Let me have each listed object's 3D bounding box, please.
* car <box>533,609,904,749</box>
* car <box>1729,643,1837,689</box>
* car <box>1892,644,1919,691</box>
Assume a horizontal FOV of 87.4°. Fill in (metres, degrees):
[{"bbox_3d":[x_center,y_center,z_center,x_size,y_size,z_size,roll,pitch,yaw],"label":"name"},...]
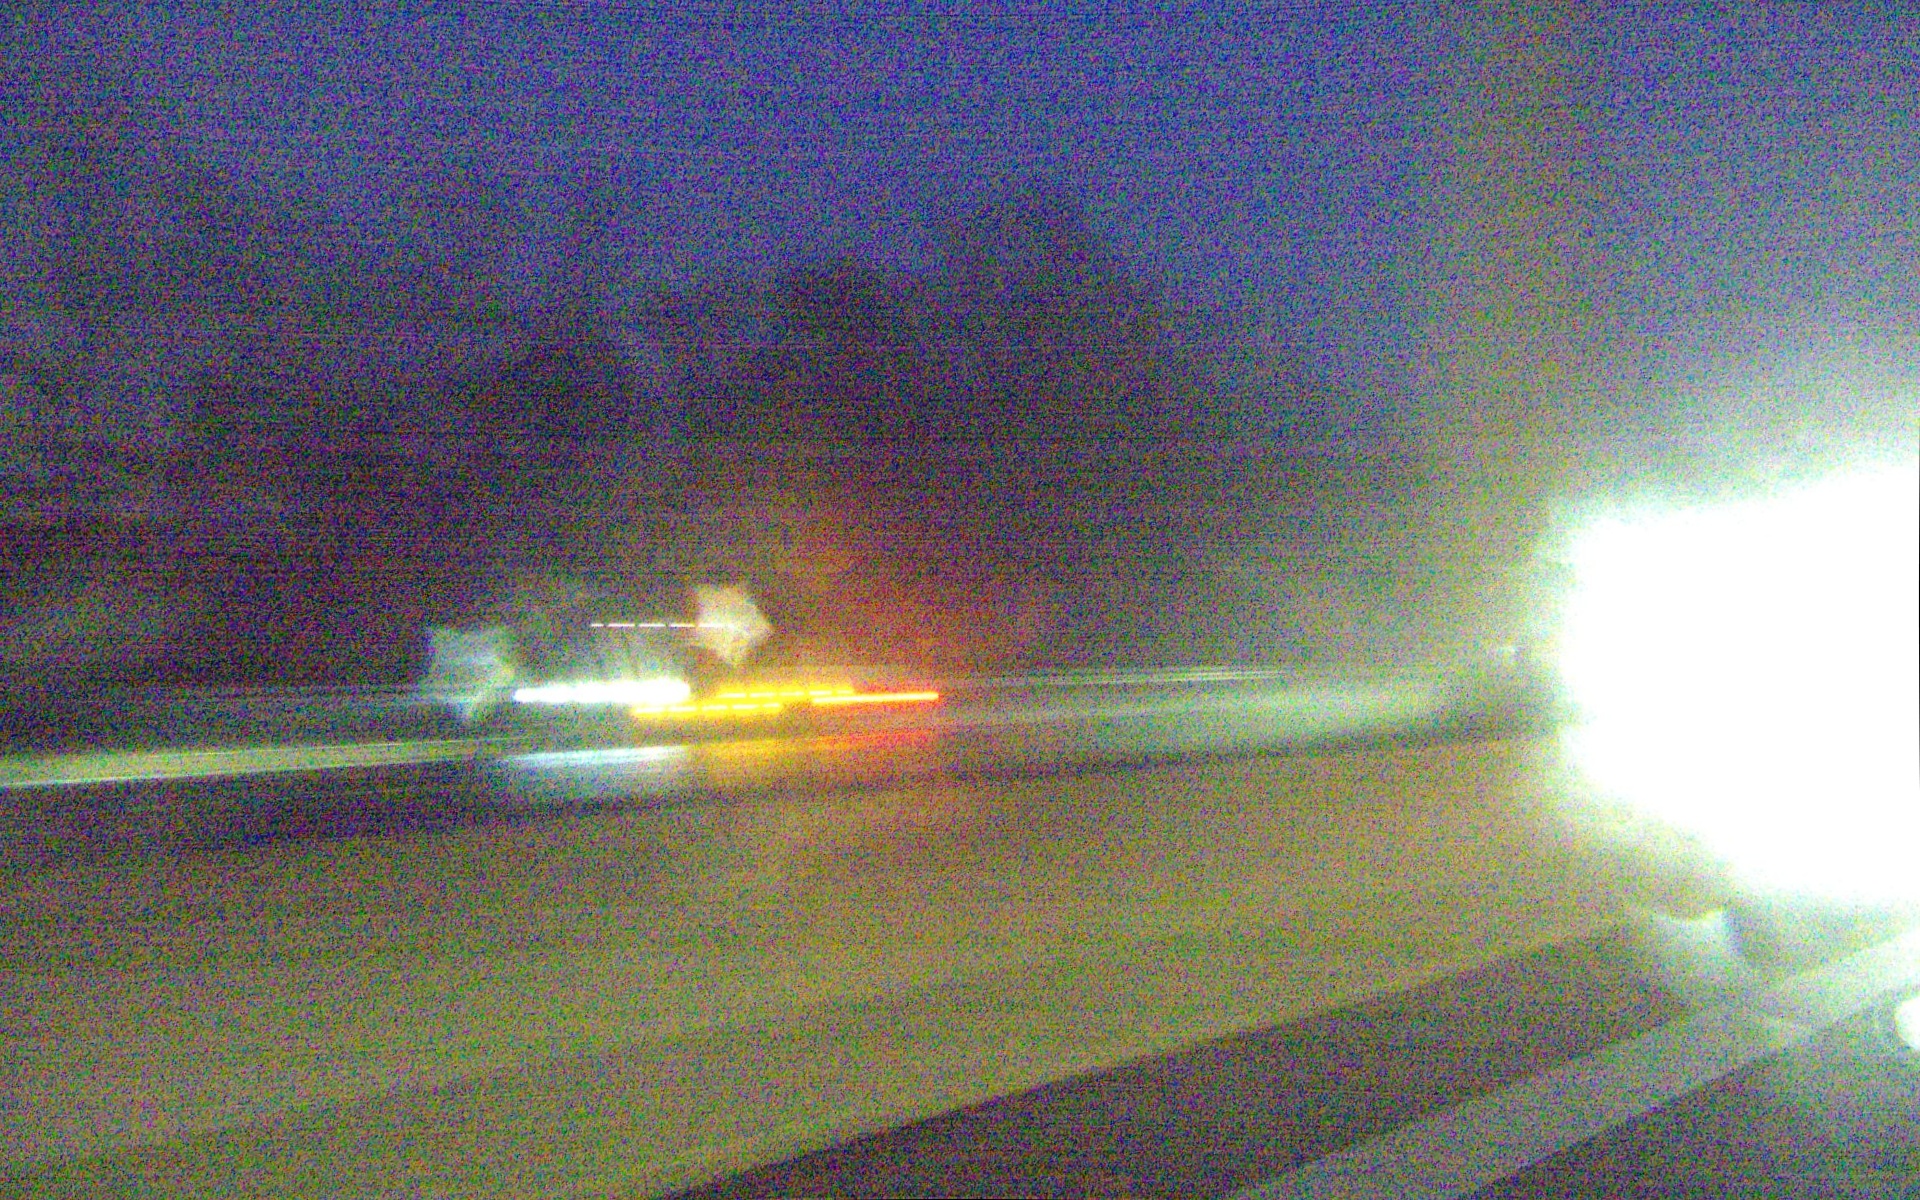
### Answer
[{"bbox_3d":[-4.833,1.481,20.637,7.062,2.475,2.370,1,-2,-30],"label":"car"},{"bbox_3d":[29.789,2.364,36.340,4.222,1.528,1.683,1,-2,-31],"label":"car"},{"bbox_3d":[33.399,2.267,33.972,3.750,1.528,1.726,1,-2,-31],"label":"car"}]
